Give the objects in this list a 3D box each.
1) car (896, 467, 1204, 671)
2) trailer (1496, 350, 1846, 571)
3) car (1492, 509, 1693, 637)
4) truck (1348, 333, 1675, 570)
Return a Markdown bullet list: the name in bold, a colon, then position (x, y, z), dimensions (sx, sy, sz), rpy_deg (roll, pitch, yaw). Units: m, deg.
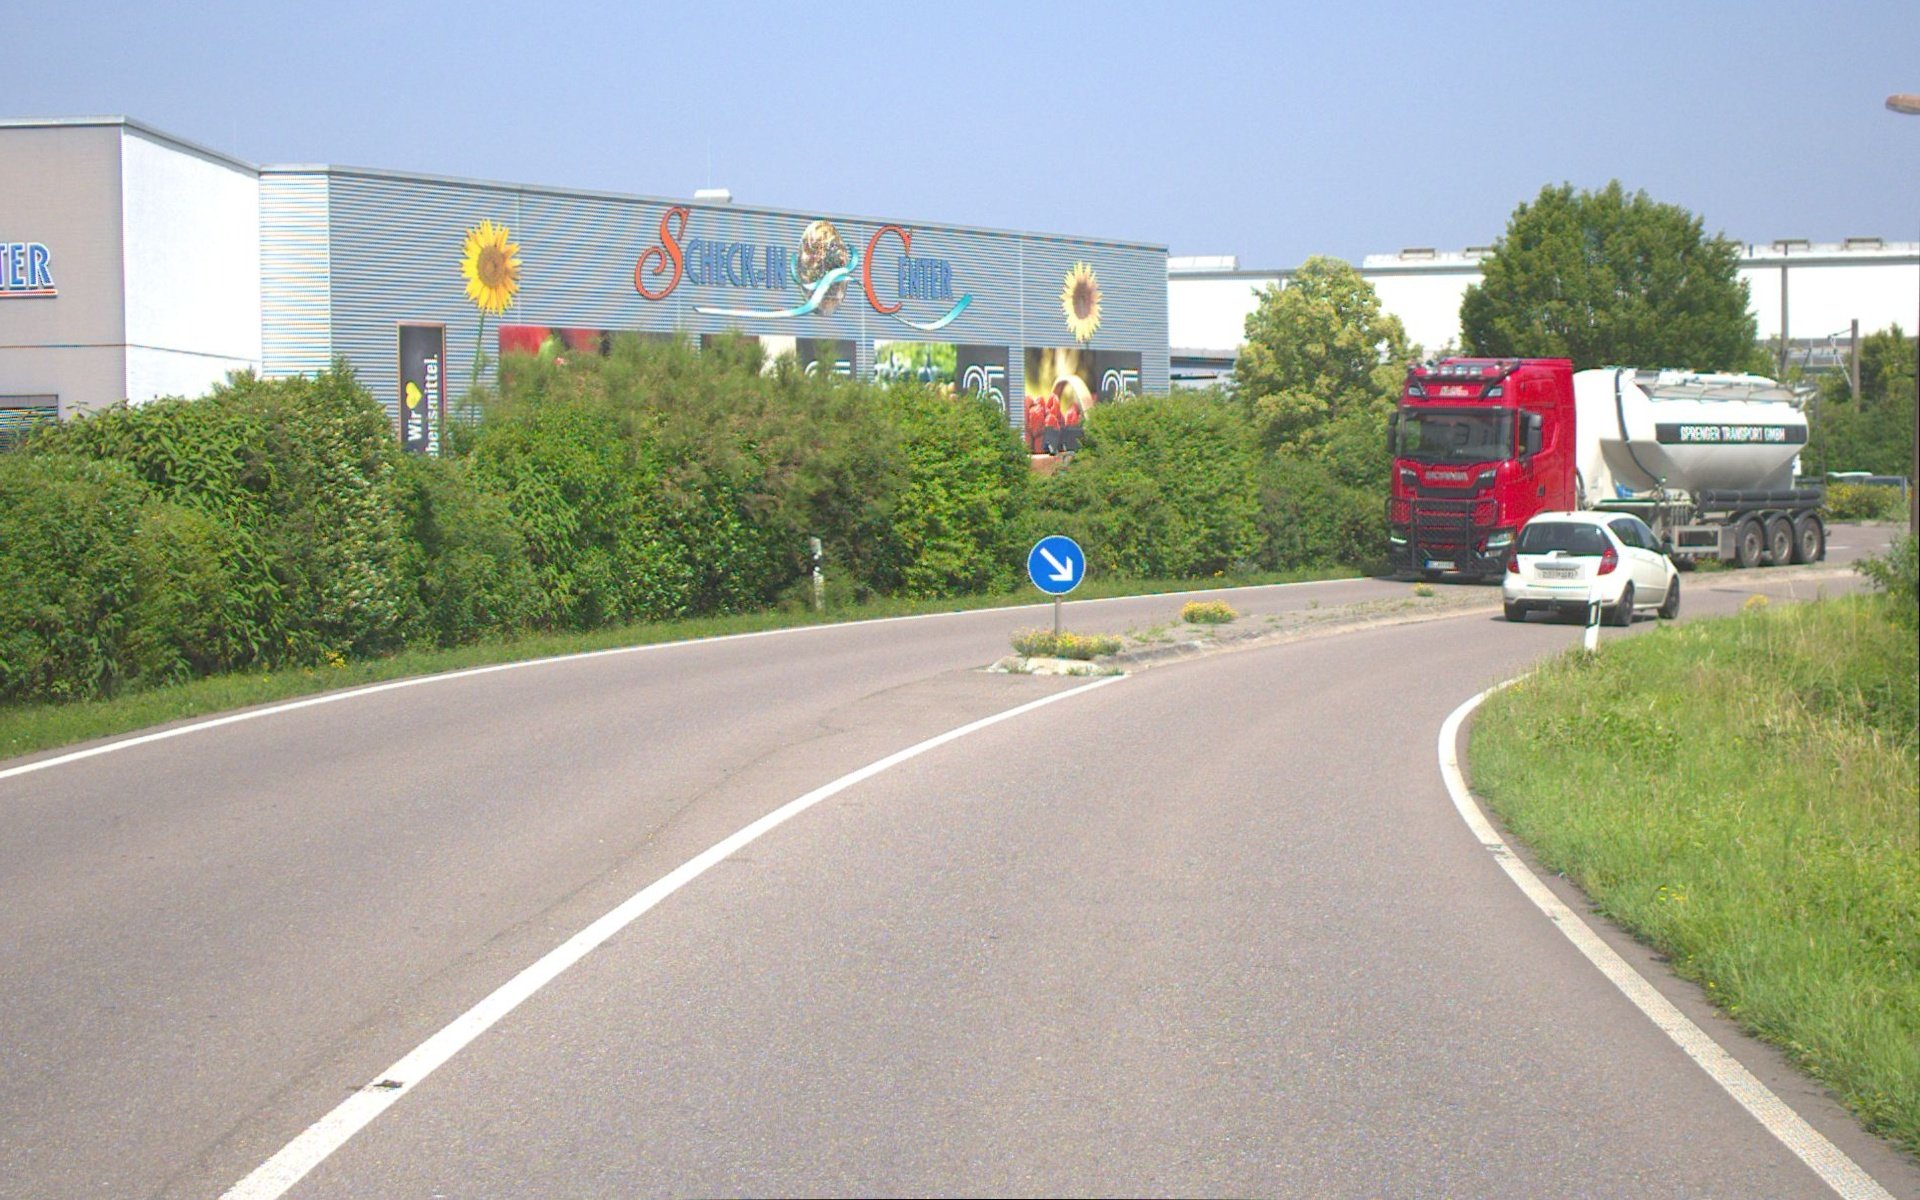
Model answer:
- **car**: position (1.011, -0.339, 36.101), dimensions (1.996, 2.007, 3.996), rpy_deg (1, 1, 21)
- **trailer**: position (14.004, -2.611, 67.129), dimensions (2.886, 4.016, 8.676), rpy_deg (1, 1, 40)
- **car**: position (9.171, -0.365, 49.662), dimensions (1.784, 1.597, 3.888), rpy_deg (7, 2, 25)
- **truck**: position (10.044, -2.583, 62.066), dimensions (2.888, 4.016, 6.706), rpy_deg (1, 1, 38)
